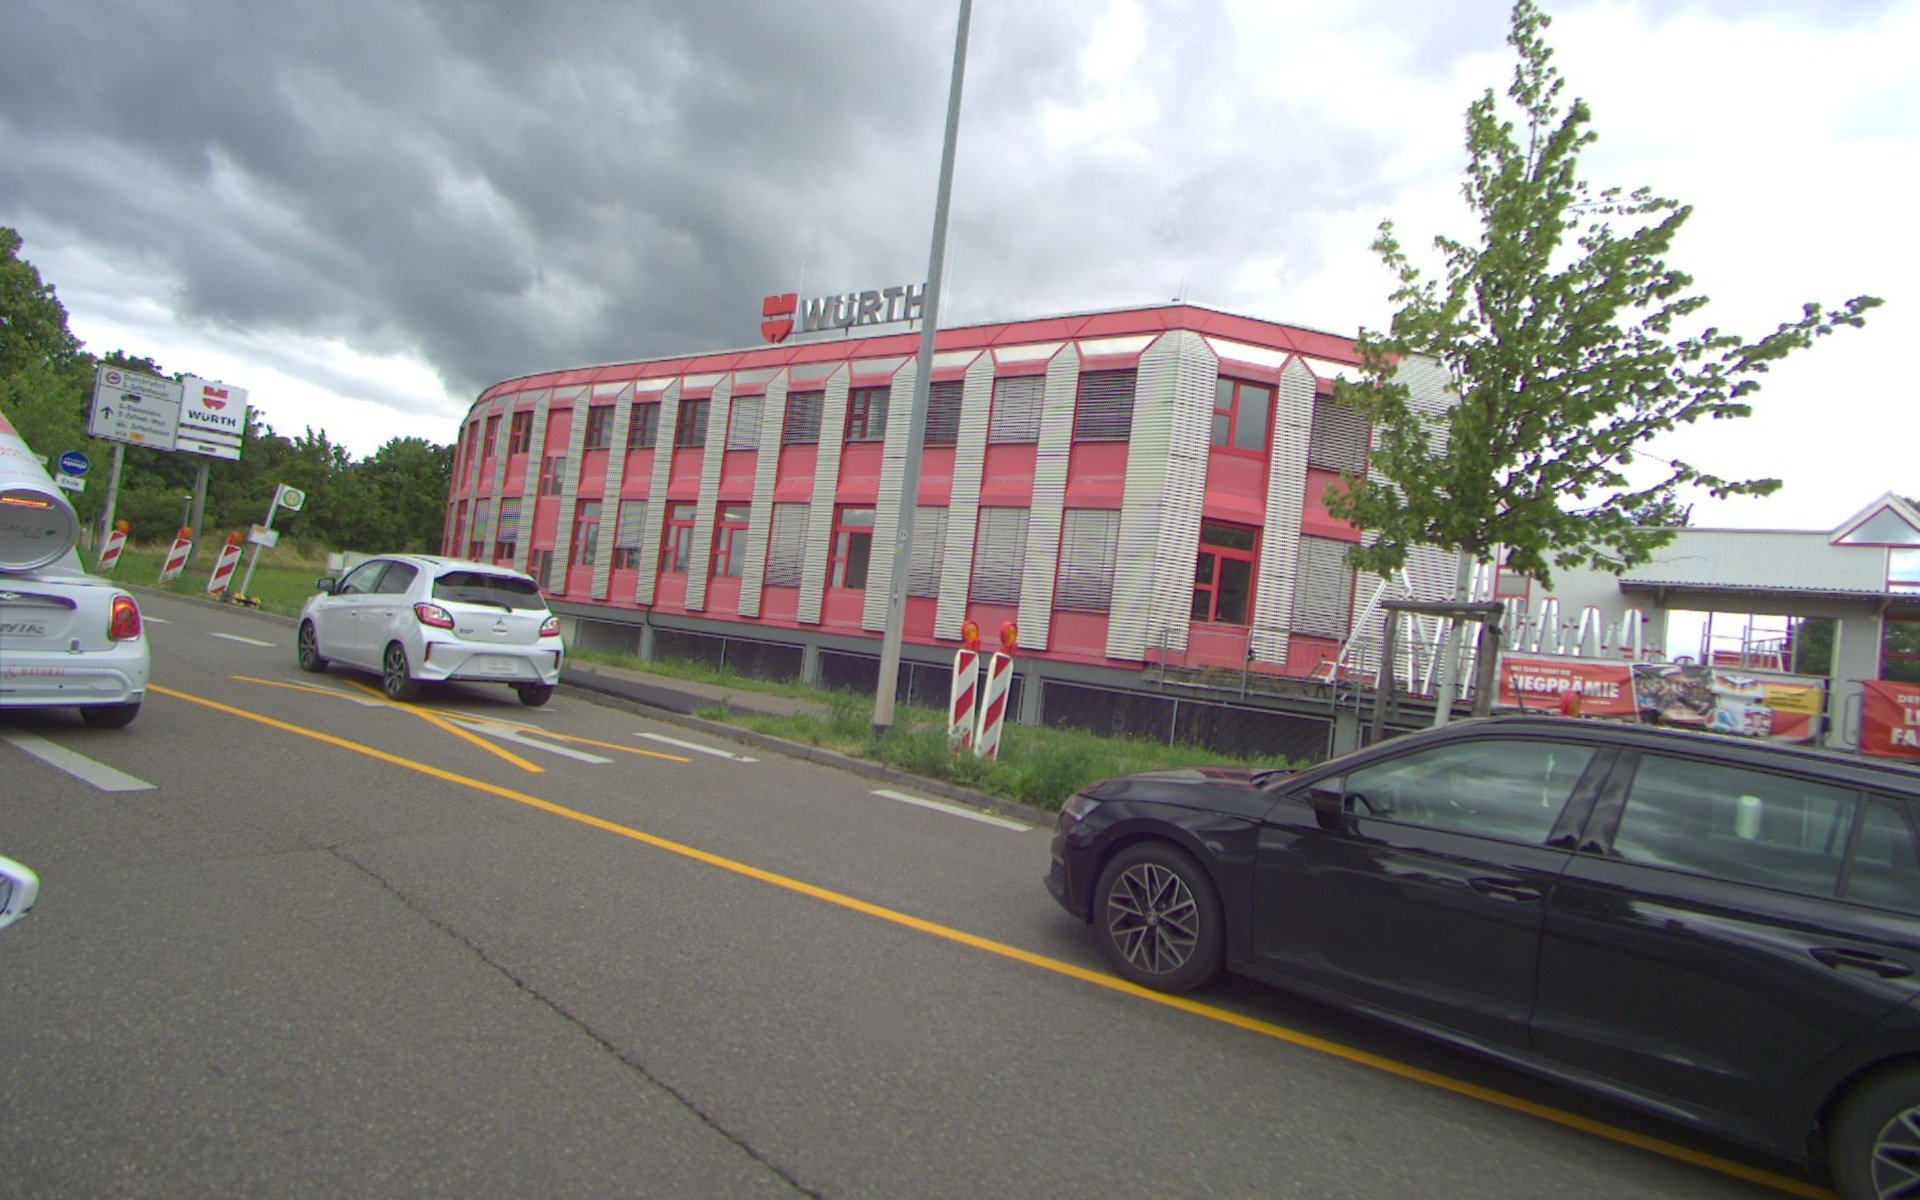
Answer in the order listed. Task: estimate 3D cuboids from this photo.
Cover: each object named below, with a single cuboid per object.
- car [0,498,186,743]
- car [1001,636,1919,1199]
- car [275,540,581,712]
[{"bbox_3d":[-7.313,-0.034,7.004,3.634,1.474,1.722,6,-2,31],"label":"car"},{"bbox_3d":[2.465,1.168,4.226,4.216,1.450,1.835,7,-1,40],"label":"car"},{"bbox_3d":[-6.058,0.247,11.314,3.635,1.474,1.623,5,-2,39],"label":"car"}]
